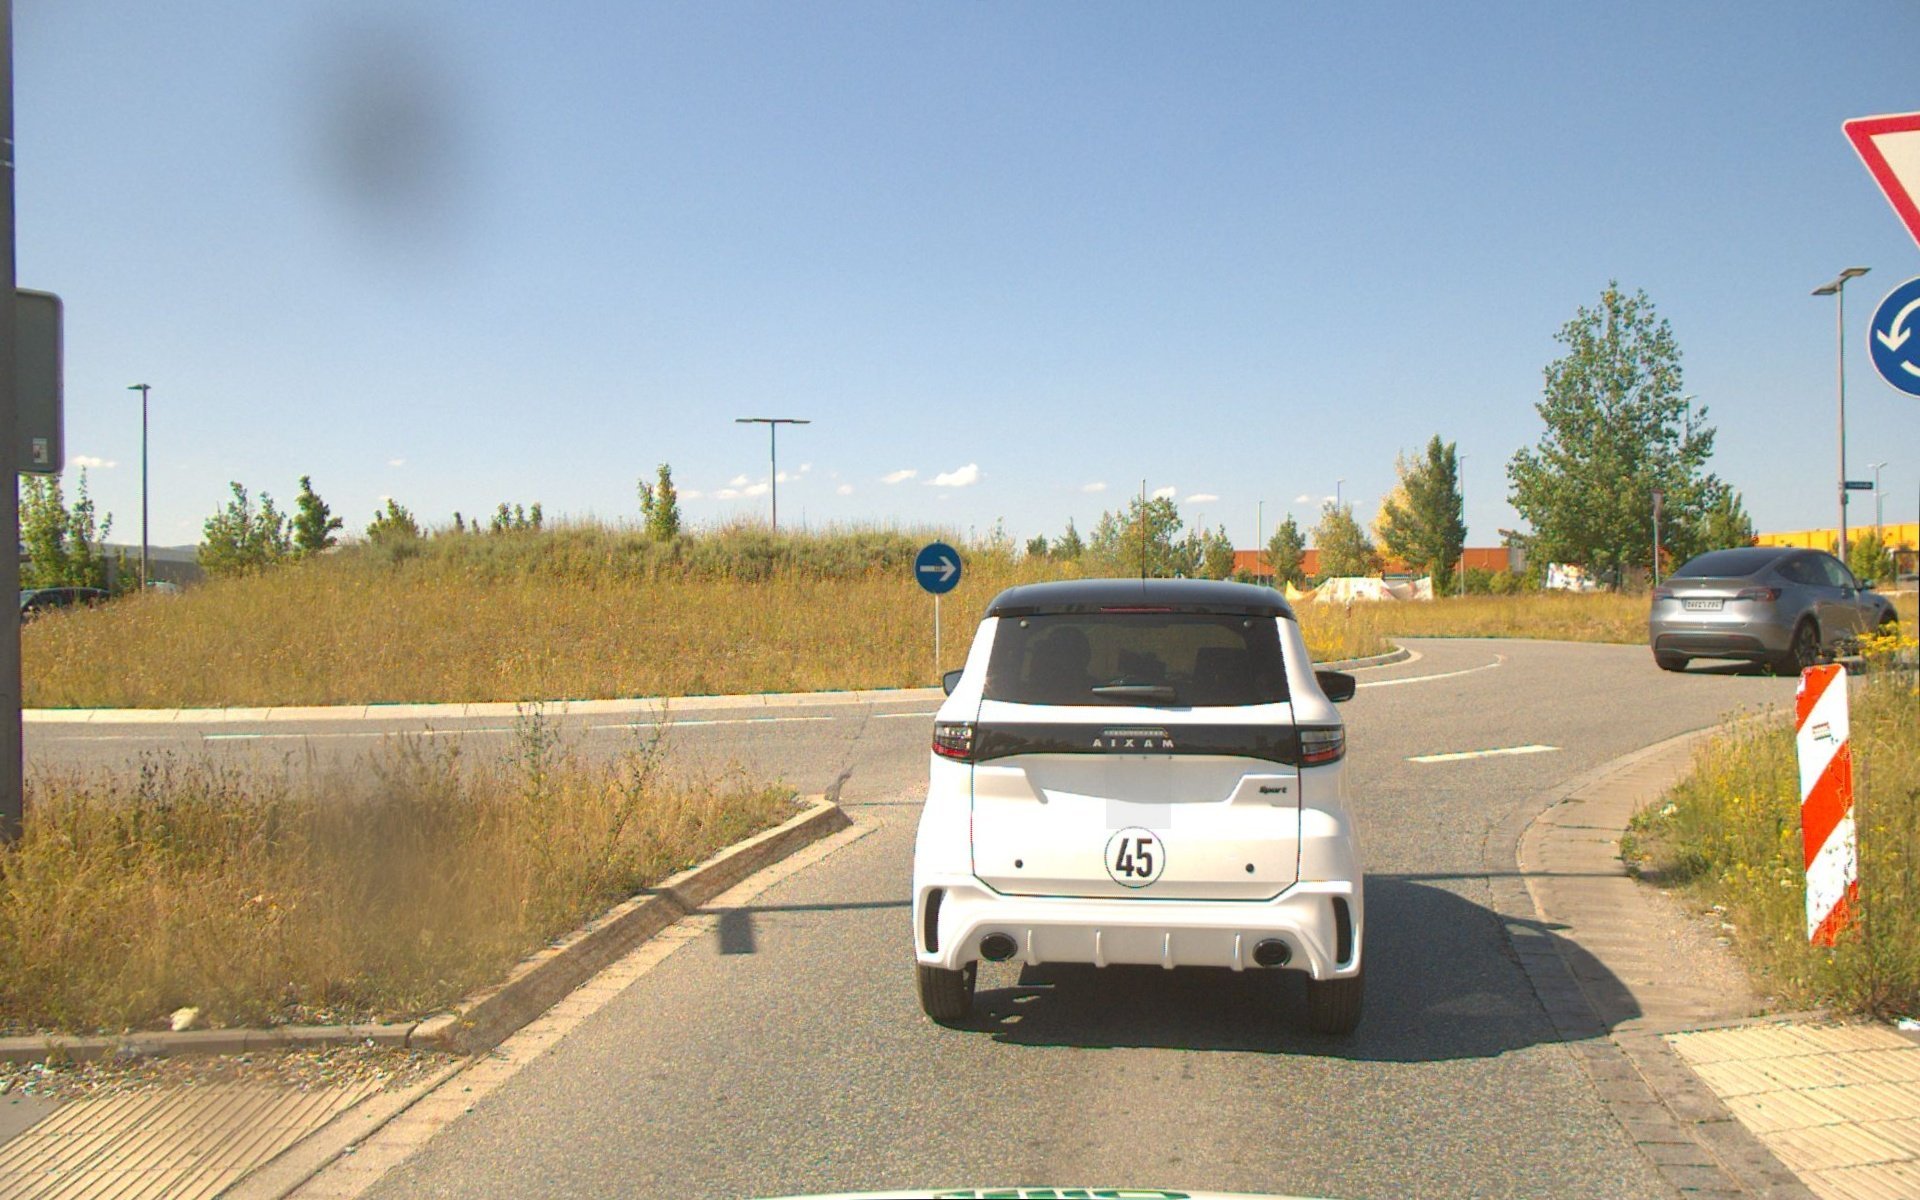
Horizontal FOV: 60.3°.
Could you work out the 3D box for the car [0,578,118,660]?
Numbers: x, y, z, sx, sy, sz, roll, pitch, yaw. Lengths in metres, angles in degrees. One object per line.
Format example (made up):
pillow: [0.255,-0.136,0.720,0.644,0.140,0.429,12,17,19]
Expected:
car: [-20.843,0.432,36.041,1.825,1.664,4.054,-1,1,43]

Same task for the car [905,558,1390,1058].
car: [0.815,0.589,6.741,1.477,1.465,3.354,0,2,9]

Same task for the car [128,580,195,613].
car: [-45.057,-0.176,93.381,1.954,1.762,3.998,-1,0,-3]

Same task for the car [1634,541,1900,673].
car: [10.934,0.059,22.306,4.131,1.612,1.804,-1,0,-42]
